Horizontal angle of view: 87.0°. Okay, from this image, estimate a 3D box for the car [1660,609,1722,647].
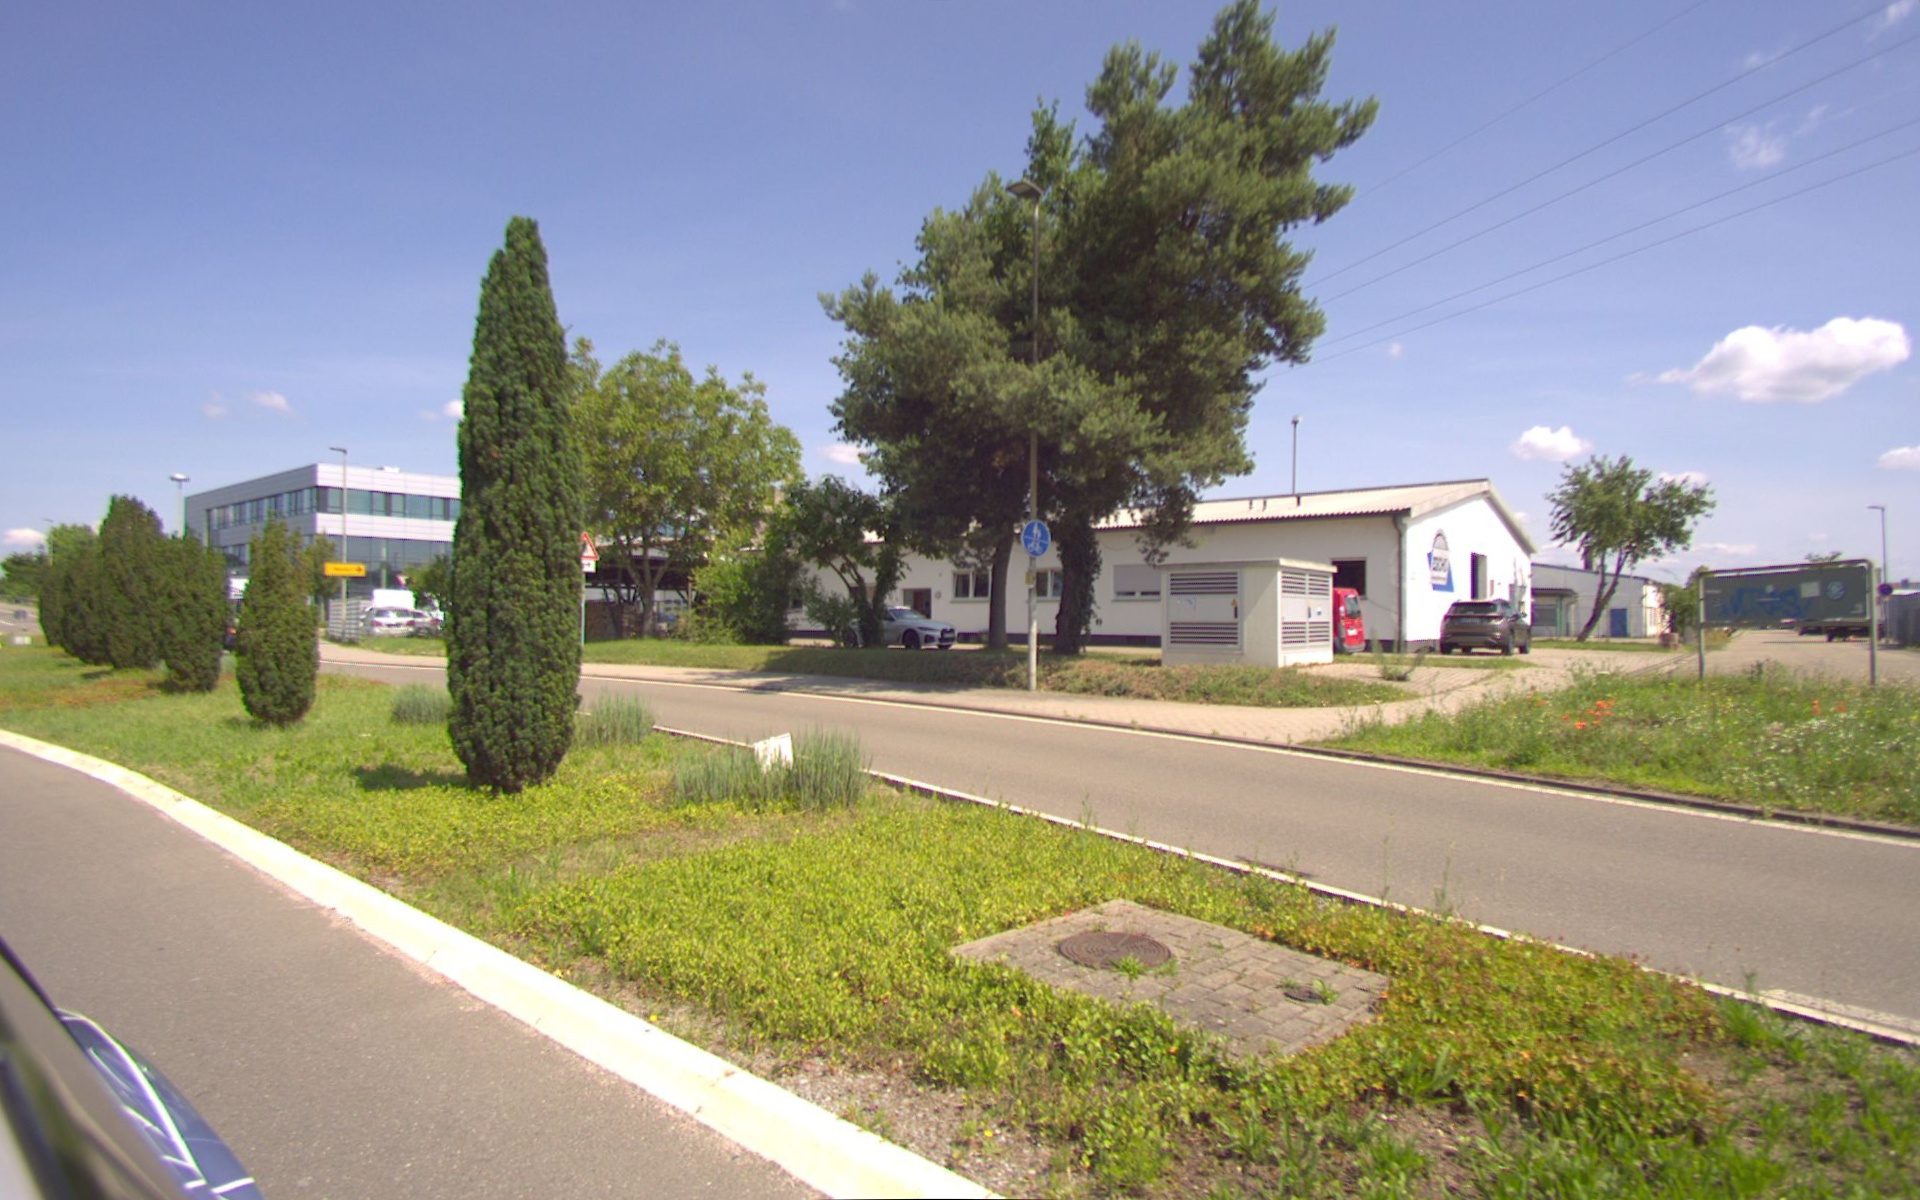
[{"bbox_3d":[32.305,1.212,44.673,1.998,1.567,4.752,-1,-1,39],"label":"car"}]

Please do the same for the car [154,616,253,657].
[{"bbox_3d":[-27.803,1.298,37.143,4.861,1.404,1.880,-1,-1,40],"label":"car"}]

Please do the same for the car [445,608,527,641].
[{"bbox_3d":[-21.672,1.093,46.243,3.998,1.453,1.973,0,-1,41],"label":"car"}]

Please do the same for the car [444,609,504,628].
[{"bbox_3d":[-34.950,1.344,72.860,3.679,1.331,1.906,1,-1,-16],"label":"car"}]

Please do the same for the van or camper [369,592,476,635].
[{"bbox_3d":[-32.361,0.810,61.170,5.491,2.516,2.085,1,-1,-22],"label":"van or camper"}]

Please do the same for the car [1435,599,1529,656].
[{"bbox_3d":[15.470,0.774,29.903,1.932,1.536,3.952,-1,-1,35],"label":"car"}]

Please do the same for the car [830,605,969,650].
[{"bbox_3d":[-2.076,0.904,33.946,4.512,1.419,1.974,-1,-1,39],"label":"car"}]

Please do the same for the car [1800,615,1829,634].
[{"bbox_3d":[83.657,2.411,99.067,1.998,1.802,4.239,-1,-1,39],"label":"car"}]

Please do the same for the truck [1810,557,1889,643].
[{"bbox_3d":[50.243,0.048,57.371,2.843,4.551,8.482,-1,-1,38],"label":"truck"}]

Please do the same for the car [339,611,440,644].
[{"bbox_3d":[-27.906,1.335,49.566,3.939,1.530,2.002,1,-1,-43],"label":"car"}]

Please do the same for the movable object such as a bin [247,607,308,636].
[{"bbox_3d":[-57.906,1.806,85.848,5.441,2.428,2.149,0,-1,31],"label":"movable object such as a bin"}]

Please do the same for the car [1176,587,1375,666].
[{"bbox_3d":[7.652,0.629,24.693,4.225,1.758,1.974,-1,-1,39],"label":"car"}]

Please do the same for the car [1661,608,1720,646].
[{"bbox_3d":[35.228,1.251,48.737,1.998,1.756,4.433,-1,-1,40],"label":"car"}]

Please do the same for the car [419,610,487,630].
[{"bbox_3d":[-35.263,1.391,70.527,3.932,1.331,2.006,1,-1,-16],"label":"car"}]
